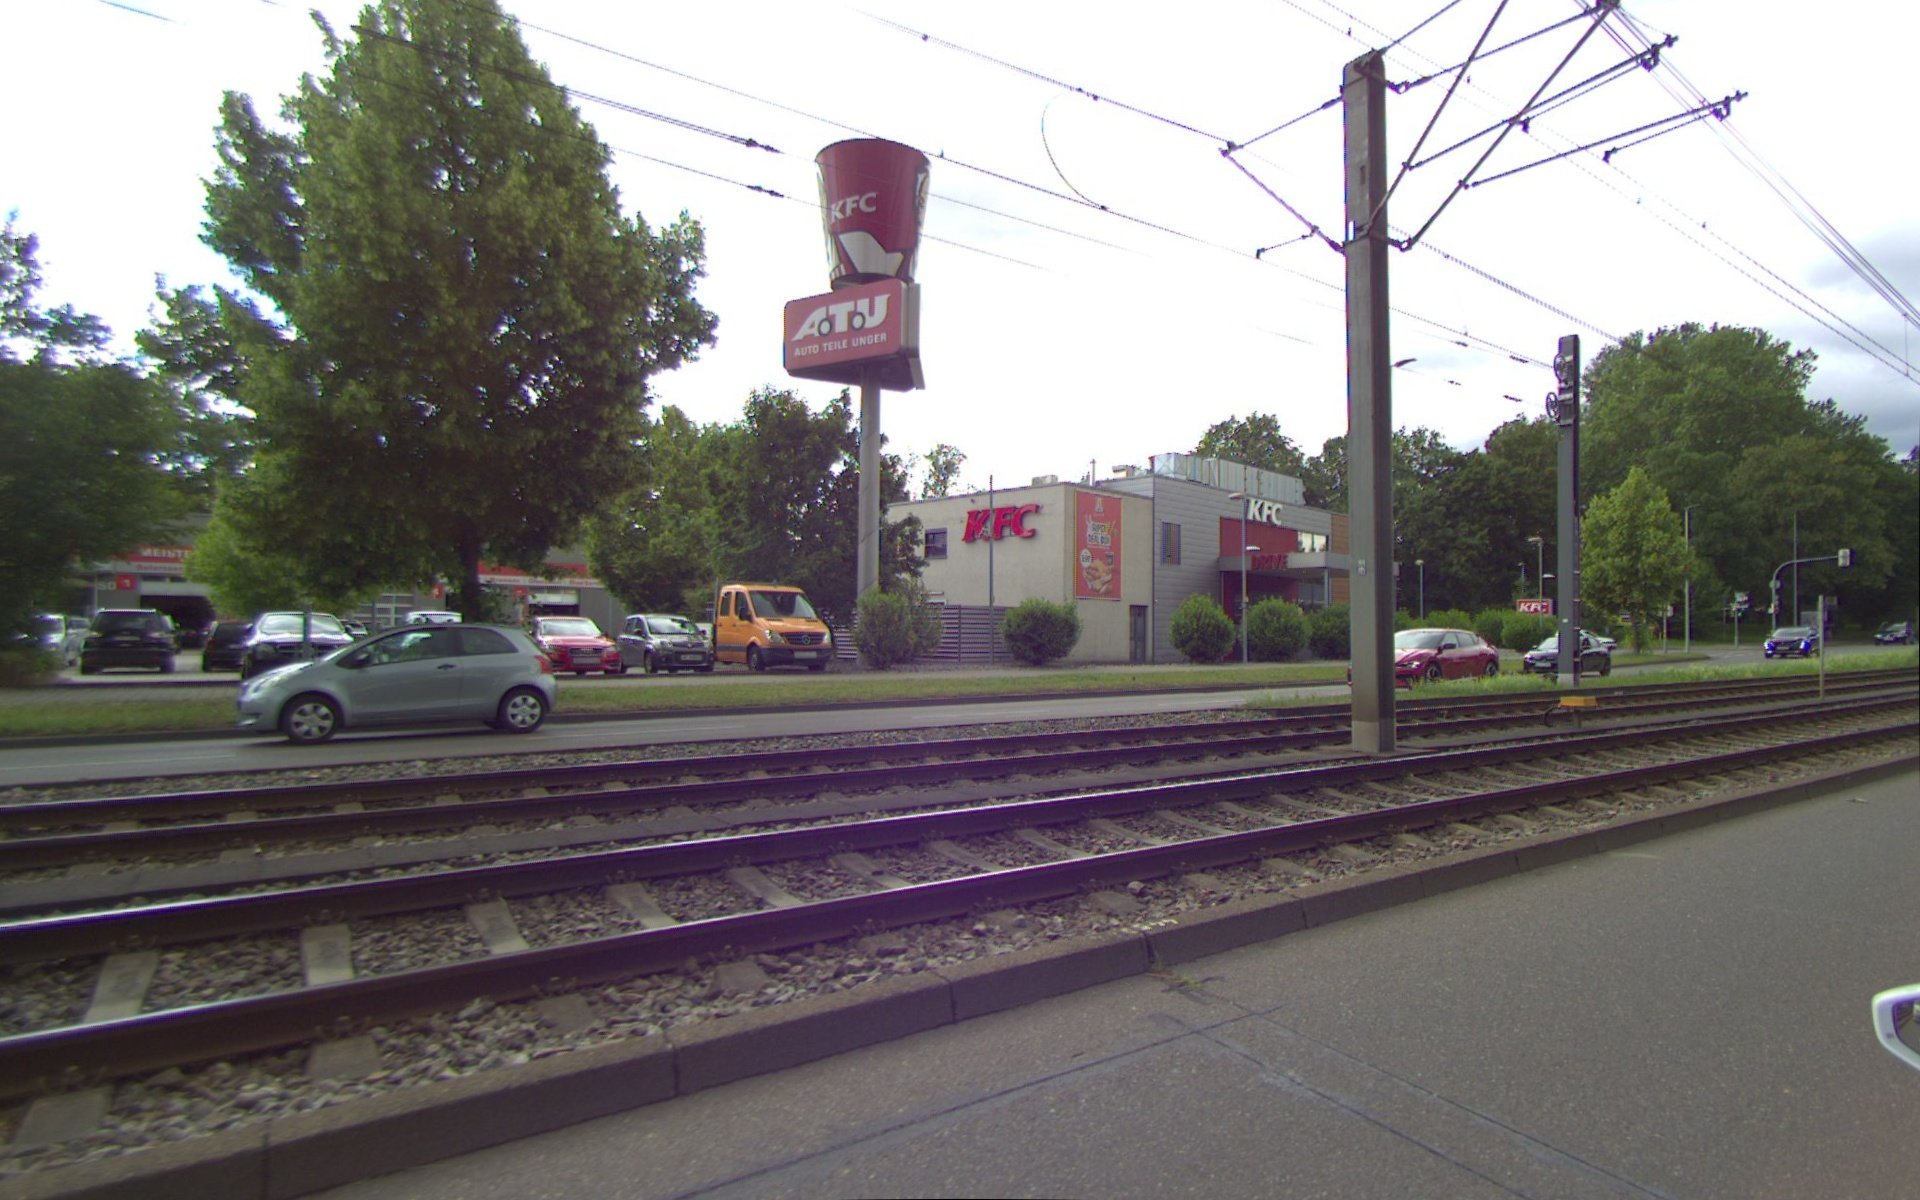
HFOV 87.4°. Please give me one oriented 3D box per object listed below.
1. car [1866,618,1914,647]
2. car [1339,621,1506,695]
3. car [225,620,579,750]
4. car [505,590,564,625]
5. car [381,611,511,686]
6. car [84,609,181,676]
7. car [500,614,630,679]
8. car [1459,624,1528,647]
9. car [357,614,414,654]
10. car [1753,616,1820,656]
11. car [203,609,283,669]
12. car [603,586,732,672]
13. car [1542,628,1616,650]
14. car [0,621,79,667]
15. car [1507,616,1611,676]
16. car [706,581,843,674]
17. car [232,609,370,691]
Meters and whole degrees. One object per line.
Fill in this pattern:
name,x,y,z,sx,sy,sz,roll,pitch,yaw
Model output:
car,67.401,2.332,72.789,4.072,2.040,1.978,2,-2,-39
car,11.124,1.365,24.056,4.442,1.602,1.770,2,-3,-38
car,-7.488,1.091,13.646,3.962,1.502,1.980,2,-4,-36
car,-21.620,0.353,50.953,1.903,1.644,3.701,1,1,-36
car,-11.600,1.031,22.535,2.073,1.385,3.961,2,0,-35
car,-22.465,1.140,27.398,1.809,1.669,3.702,1,-2,-36
car,-9.338,1.037,23.575,1.980,1.253,3.961,2,0,-35
car,37.999,2.520,71.624,1.830,1.572,3.959,1,-2,-36
car,-26.574,1.531,46.405,1.980,1.614,3.961,1,1,-35
car,44.005,1.897,53.474,4.211,2.040,1.978,2,-2,-39
car,-21.293,1.149,29.814,1.809,1.669,3.702,1,-2,-36
car,-7.521,0.680,25.601,1.980,1.944,3.961,1,1,-35
car,41.317,2.566,67.114,1.829,1.426,3.852,1,-2,-36
car,-27.725,1.289,30.096,1.650,1.147,3.701,2,0,-36
car,21.538,1.616,36.061,3.966,2.040,1.978,2,-2,-39
car,-4.926,0.655,26.293,2.038,2.194,3.961,1,1,-35
car,-13.649,0.961,20.791,2.174,1.372,4.345,2,0,-35
